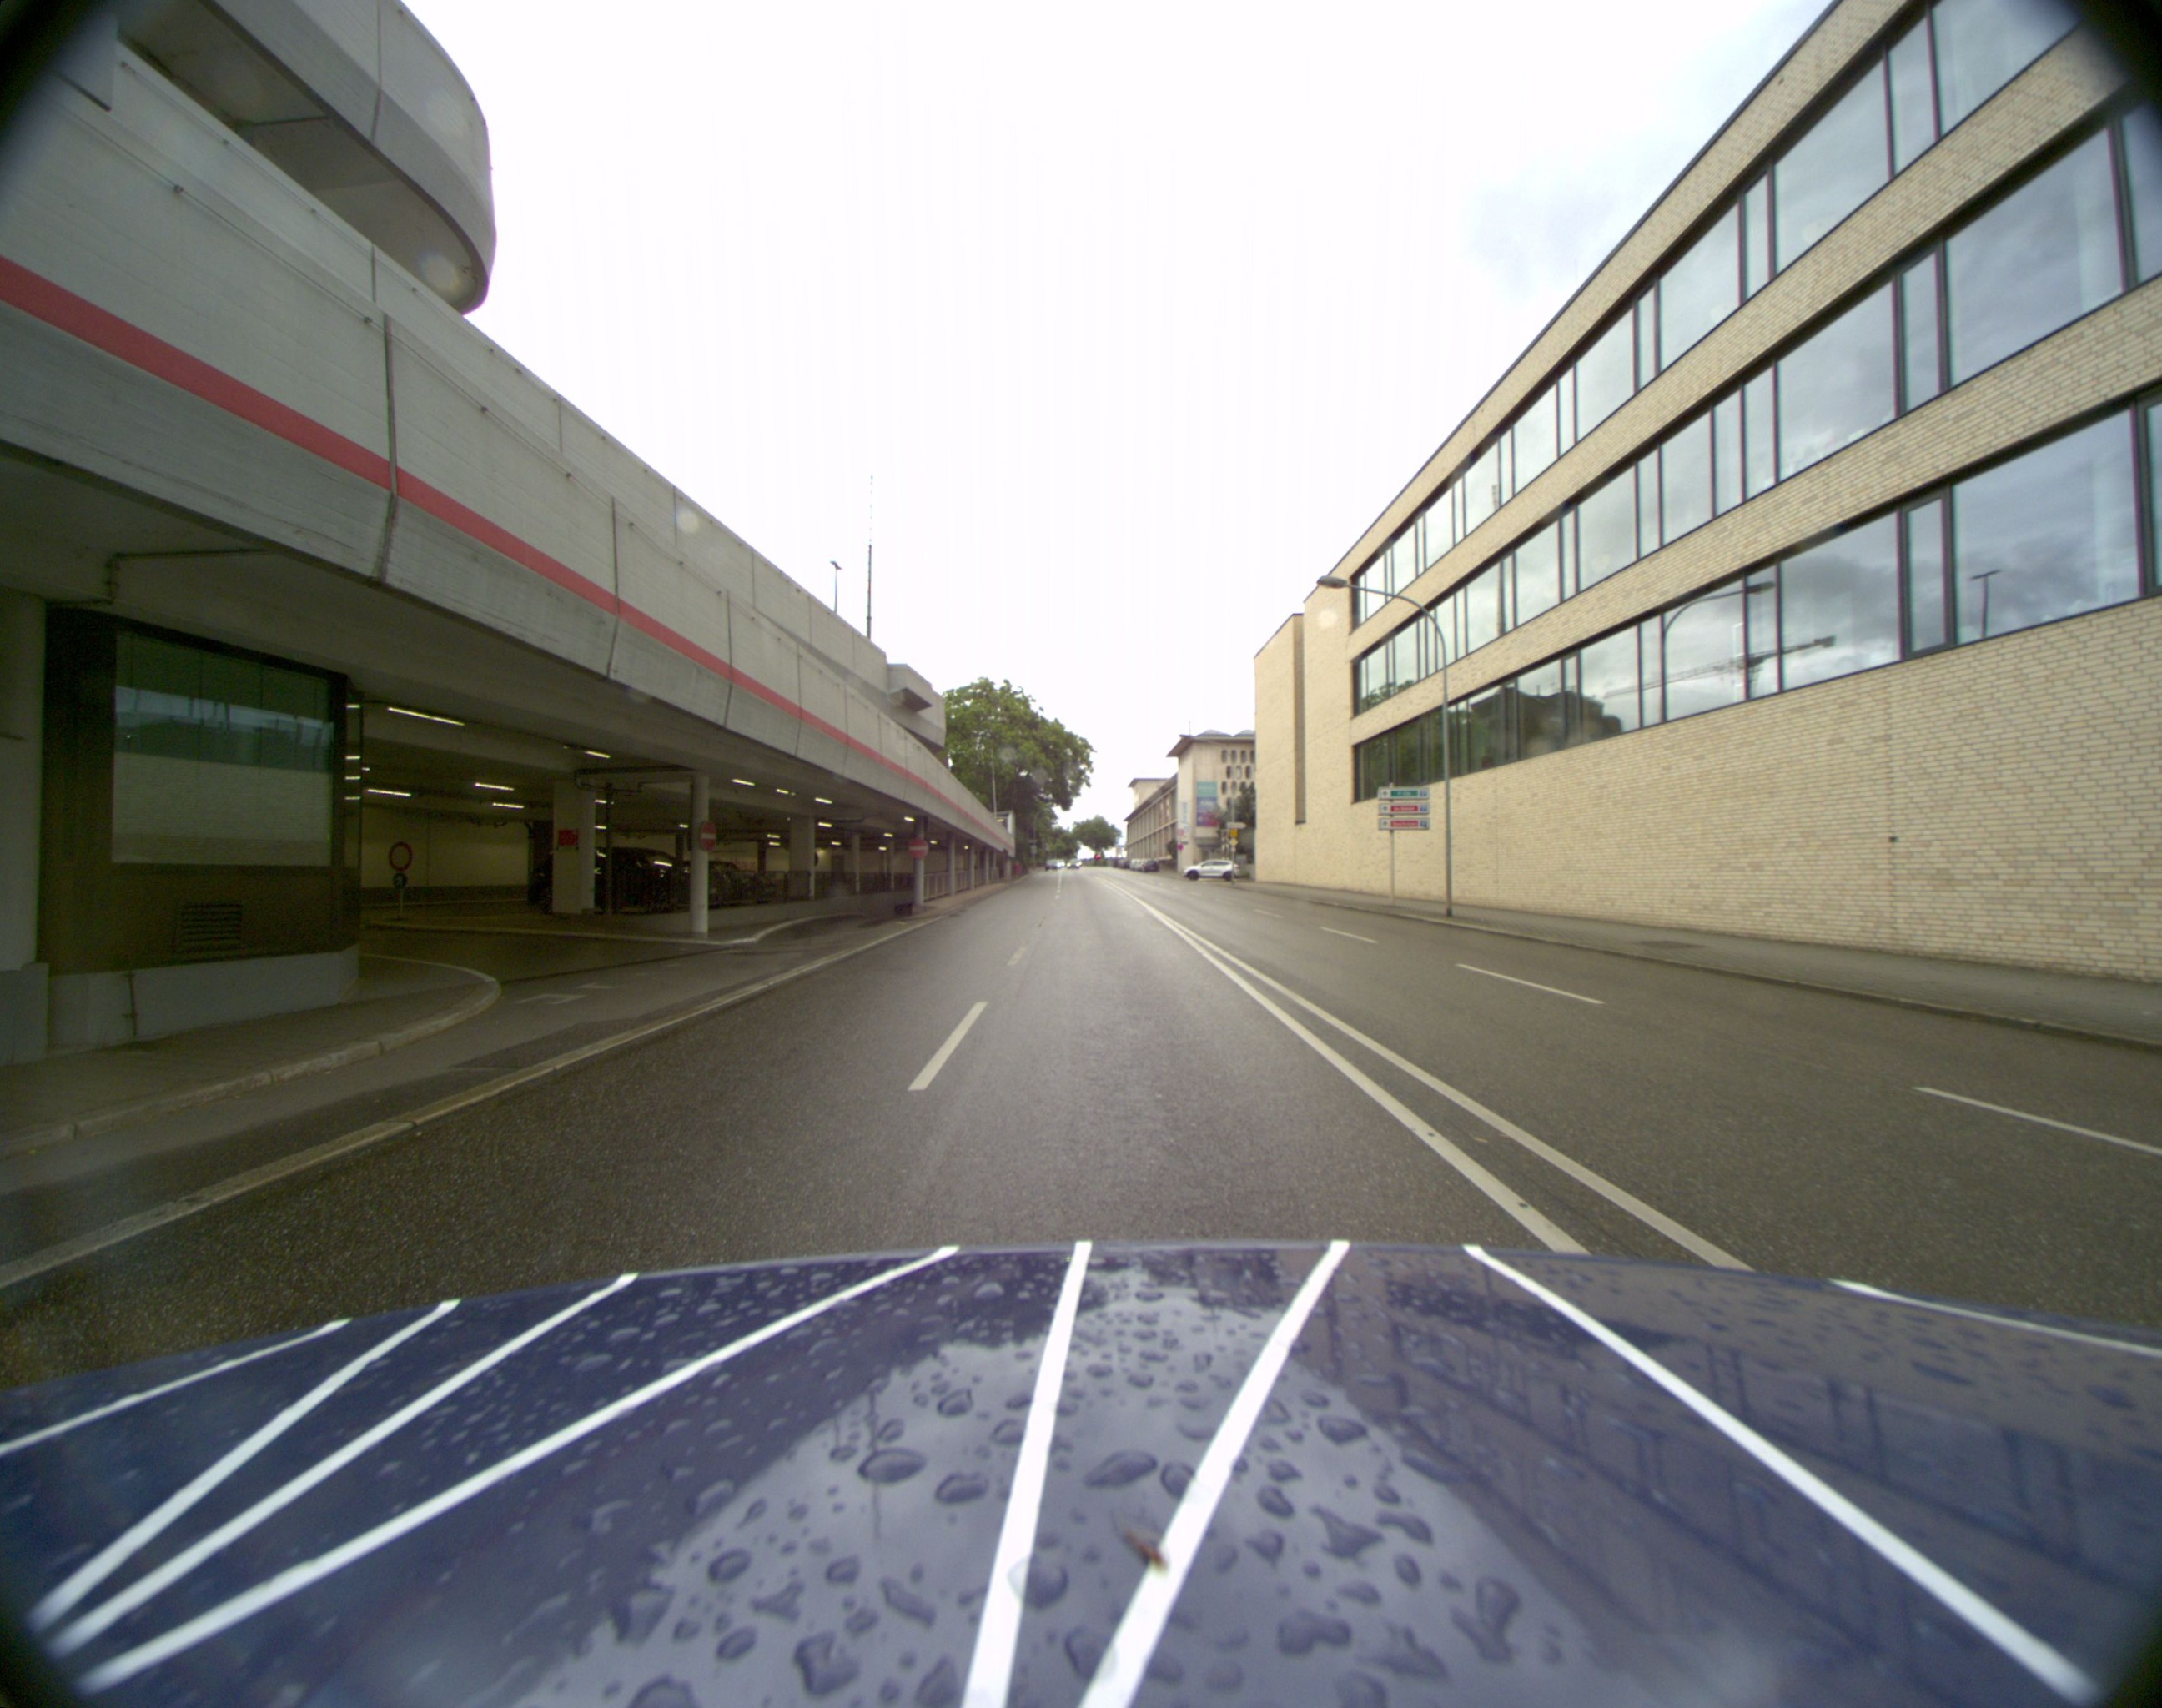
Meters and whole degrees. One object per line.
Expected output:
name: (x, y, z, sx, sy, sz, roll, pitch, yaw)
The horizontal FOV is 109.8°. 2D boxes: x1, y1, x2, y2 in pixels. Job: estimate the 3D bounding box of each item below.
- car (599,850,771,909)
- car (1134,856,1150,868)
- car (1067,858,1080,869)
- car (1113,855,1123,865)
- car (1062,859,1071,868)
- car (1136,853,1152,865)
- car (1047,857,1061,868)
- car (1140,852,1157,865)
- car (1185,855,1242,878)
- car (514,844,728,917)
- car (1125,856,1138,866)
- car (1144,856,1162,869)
car: (-11.913, 0.826, 22.997, 4.251, 1.650, 2.003, -1, -4, 10)
car: (8.555, 1.142, 106.889, 1.800, 1.516, 4.056, -2, -1, 1)
car: (-1.169, 1.483, 116.676, 1.852, 1.516, 3.990, -2, -1, 1)
car: (6.871, 1.118, 142.463, 1.698, 1.715, 3.756, -2, 1, 1)
car: (-2.894, 1.944, 153.286, 1.727, 1.628, 3.999, -2, 1, 1)
car: (8.365, 0.681, 101.767, 1.800, 1.516, 4.056, -2, -1, 1)
car: (-3.793, 1.207, 106.152, 1.683, 1.516, 3.990, -2, -1, 1)
car: (8.539, 0.623, 96.615, 1.800, 1.516, 4.056, -2, -1, 1)
car: (10.061, 0.951, 57.645, 4.048, 1.516, 1.804, -2, 0, 13)
car: (-11.383, 0.702, 18.973, 4.251, 1.650, 2.003, -1, -4, 10)
car: (8.053, 1.120, 121.609, 1.800, 1.516, 4.056, -2, -1, 1)
car: (8.573, 1.039, 91.071, 1.800, 1.516, 4.056, -2, -1, 1)
